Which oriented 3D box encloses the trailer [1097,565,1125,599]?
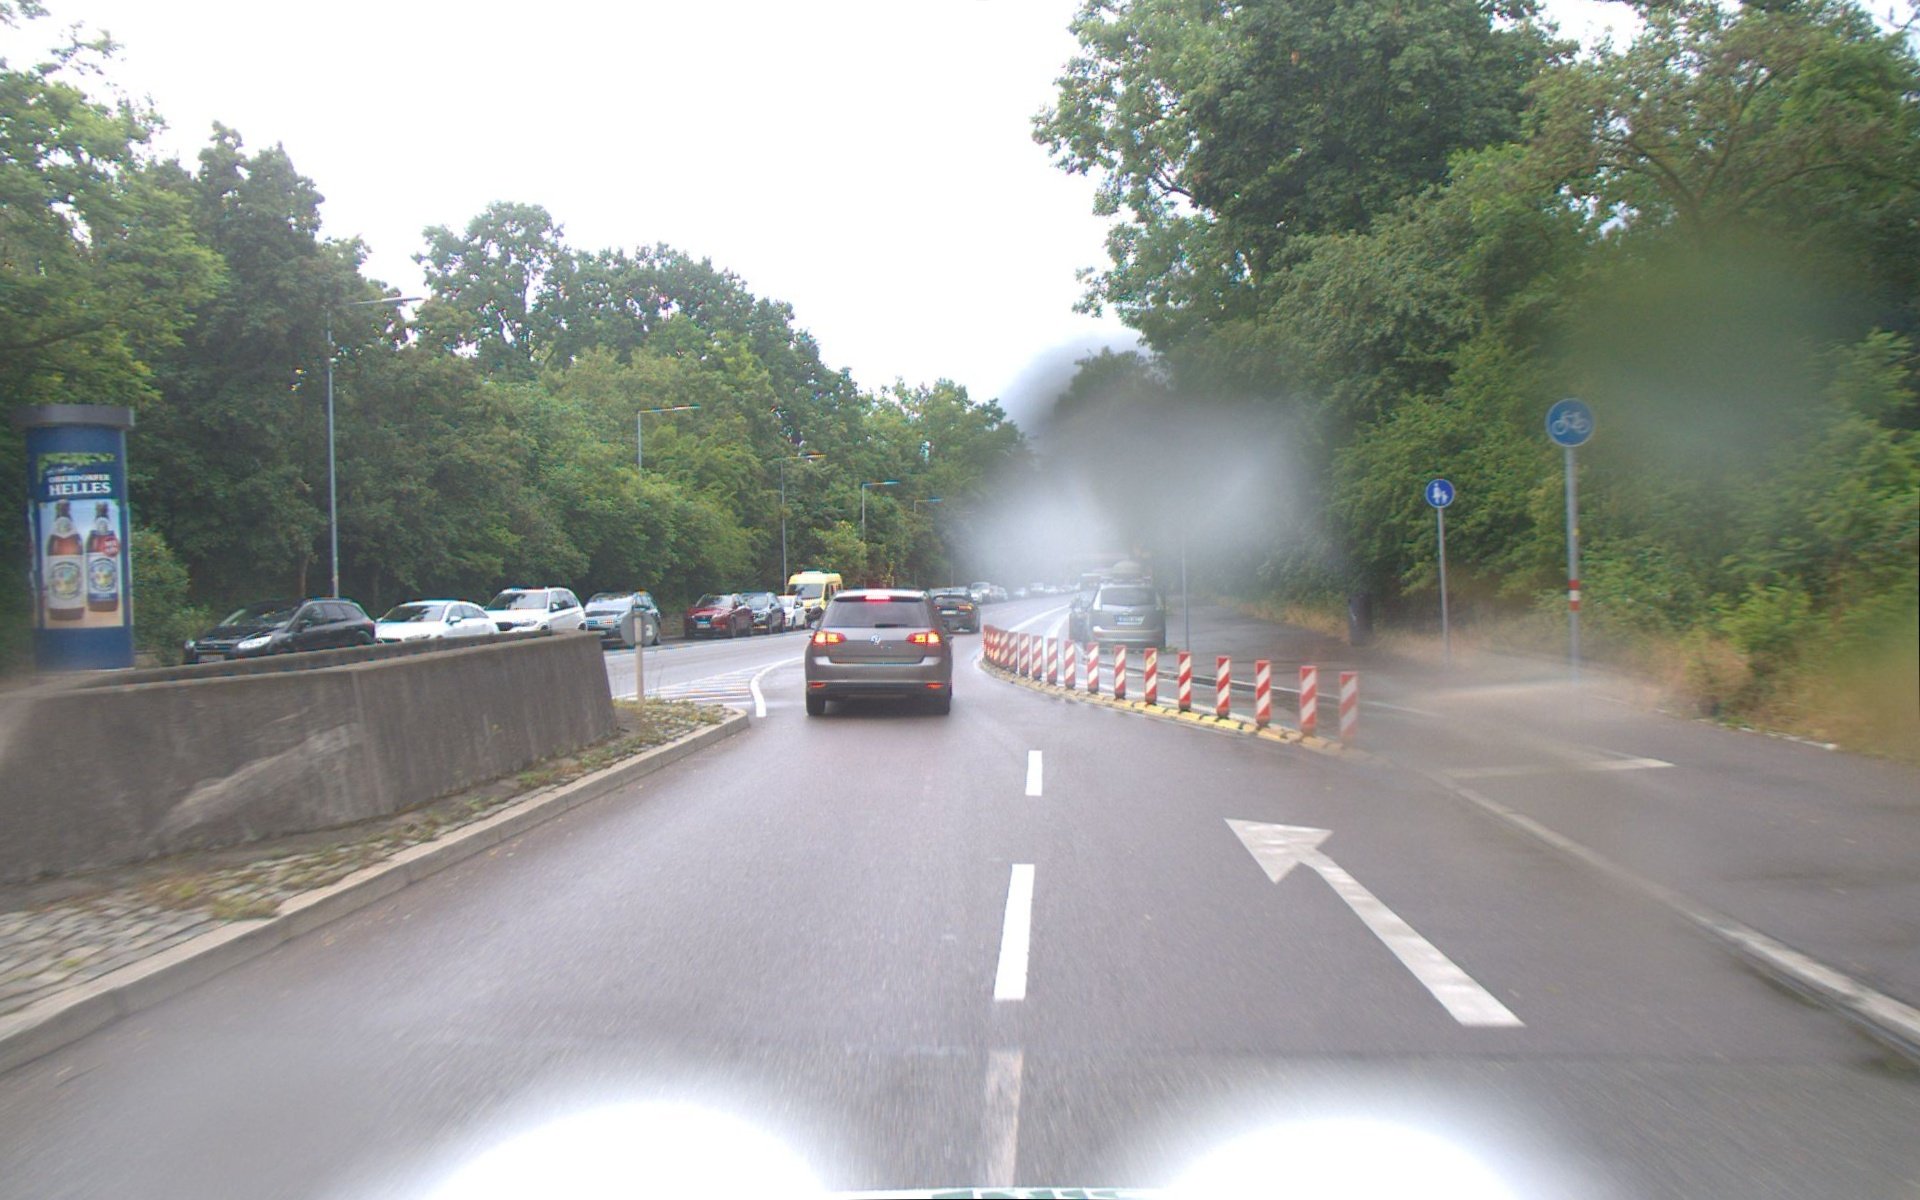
[{"bbox_3d":[12.129,-1.453,133.213,2.087,2.605,4.300,-1,1,4],"label":"trailer"}]

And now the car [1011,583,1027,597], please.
[{"bbox_3d":[7.052,-1.204,197.382,1.637,1.540,3.633,-1,1,6],"label":"car"}]

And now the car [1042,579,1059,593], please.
[{"bbox_3d":[13.505,-2.087,246.504,2.113,2.049,5.035,-2,1,7],"label":"car"}]

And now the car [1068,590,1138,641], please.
[{"bbox_3d":[4.134,0.420,48.386,1.814,1.423,4.386,0,0,2],"label":"car"}]

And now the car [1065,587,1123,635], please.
[{"bbox_3d":[4.404,0.342,54.363,1.817,1.480,4.754,0,1,5],"label":"car"}]

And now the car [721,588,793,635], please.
[{"bbox_3d":[-8.212,0.436,67.232,1.951,1.730,4.618,-2,1,5],"label":"car"}]

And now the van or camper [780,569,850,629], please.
[{"bbox_3d":[-6.841,-0.079,78.701,2.098,2.673,5.687,-2,1,7],"label":"van or camper"}]

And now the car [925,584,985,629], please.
[{"bbox_3d":[-0.144,0.210,58.467,1.841,1.491,4.002,0,1,3],"label":"car"}]

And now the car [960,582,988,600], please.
[{"bbox_3d":[1.244,-0.768,142.939,1.951,1.514,4.472,-1,1,7],"label":"car"}]

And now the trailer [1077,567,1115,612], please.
[{"bbox_3d":[7.175,-0.567,86.879,1.865,2.287,4.771,-1,1,6],"label":"trailer"}]

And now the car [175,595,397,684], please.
[{"bbox_3d":[-12.434,0.683,30.851,1.712,1.470,4.591,-1,0,8],"label":"car"}]

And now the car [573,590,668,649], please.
[{"bbox_3d":[-10.255,0.541,50.238,1.695,1.677,4.573,-1,0,3],"label":"car"}]

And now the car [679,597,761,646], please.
[{"bbox_3d":[-8.899,0.770,61.763,1.878,1.645,4.493,-2,0,7],"label":"car"}]

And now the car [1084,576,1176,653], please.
[{"bbox_3d":[3.873,0.306,38.249,1.784,1.643,4.253,-1,0,2],"label":"car"}]

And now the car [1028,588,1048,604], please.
[{"bbox_3d":[10.494,-0.605,222.278,2.113,2.049,5.035,-2,1,7],"label":"car"}]

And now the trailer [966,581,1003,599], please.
[{"bbox_3d":[2.354,-0.975,157.330,1.599,1.657,3.657,-1,1,37],"label":"trailer"}]

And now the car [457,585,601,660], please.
[{"bbox_3d":[-10.965,0.533,42.499,1.951,1.796,4.963,-1,0,6],"label":"car"}]

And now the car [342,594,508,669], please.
[{"bbox_3d":[-11.710,0.648,36.564,1.682,1.485,4.712,-1,1,6],"label":"car"}]

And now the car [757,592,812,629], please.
[{"bbox_3d":[-7.643,0.419,72.260,1.583,1.474,3.660,-3,0,7],"label":"car"}]

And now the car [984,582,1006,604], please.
[{"bbox_3d":[3.444,-0.682,163.142,1.899,2.049,4.743,-1,1,4],"label":"car"}]

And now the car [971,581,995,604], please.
[{"bbox_3d":[2.142,-0.679,152.466,1.899,2.049,4.743,-1,1,4],"label":"car"}]

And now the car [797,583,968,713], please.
[{"bbox_3d":[-0.863,0.563,20.749,1.832,1.466,4.297,0,-1,1],"label":"car"}]

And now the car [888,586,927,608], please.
[{"bbox_3d":[-3.289,-0.216,104.361,1.830,1.326,4.474,-1,1,6],"label":"car"}]
